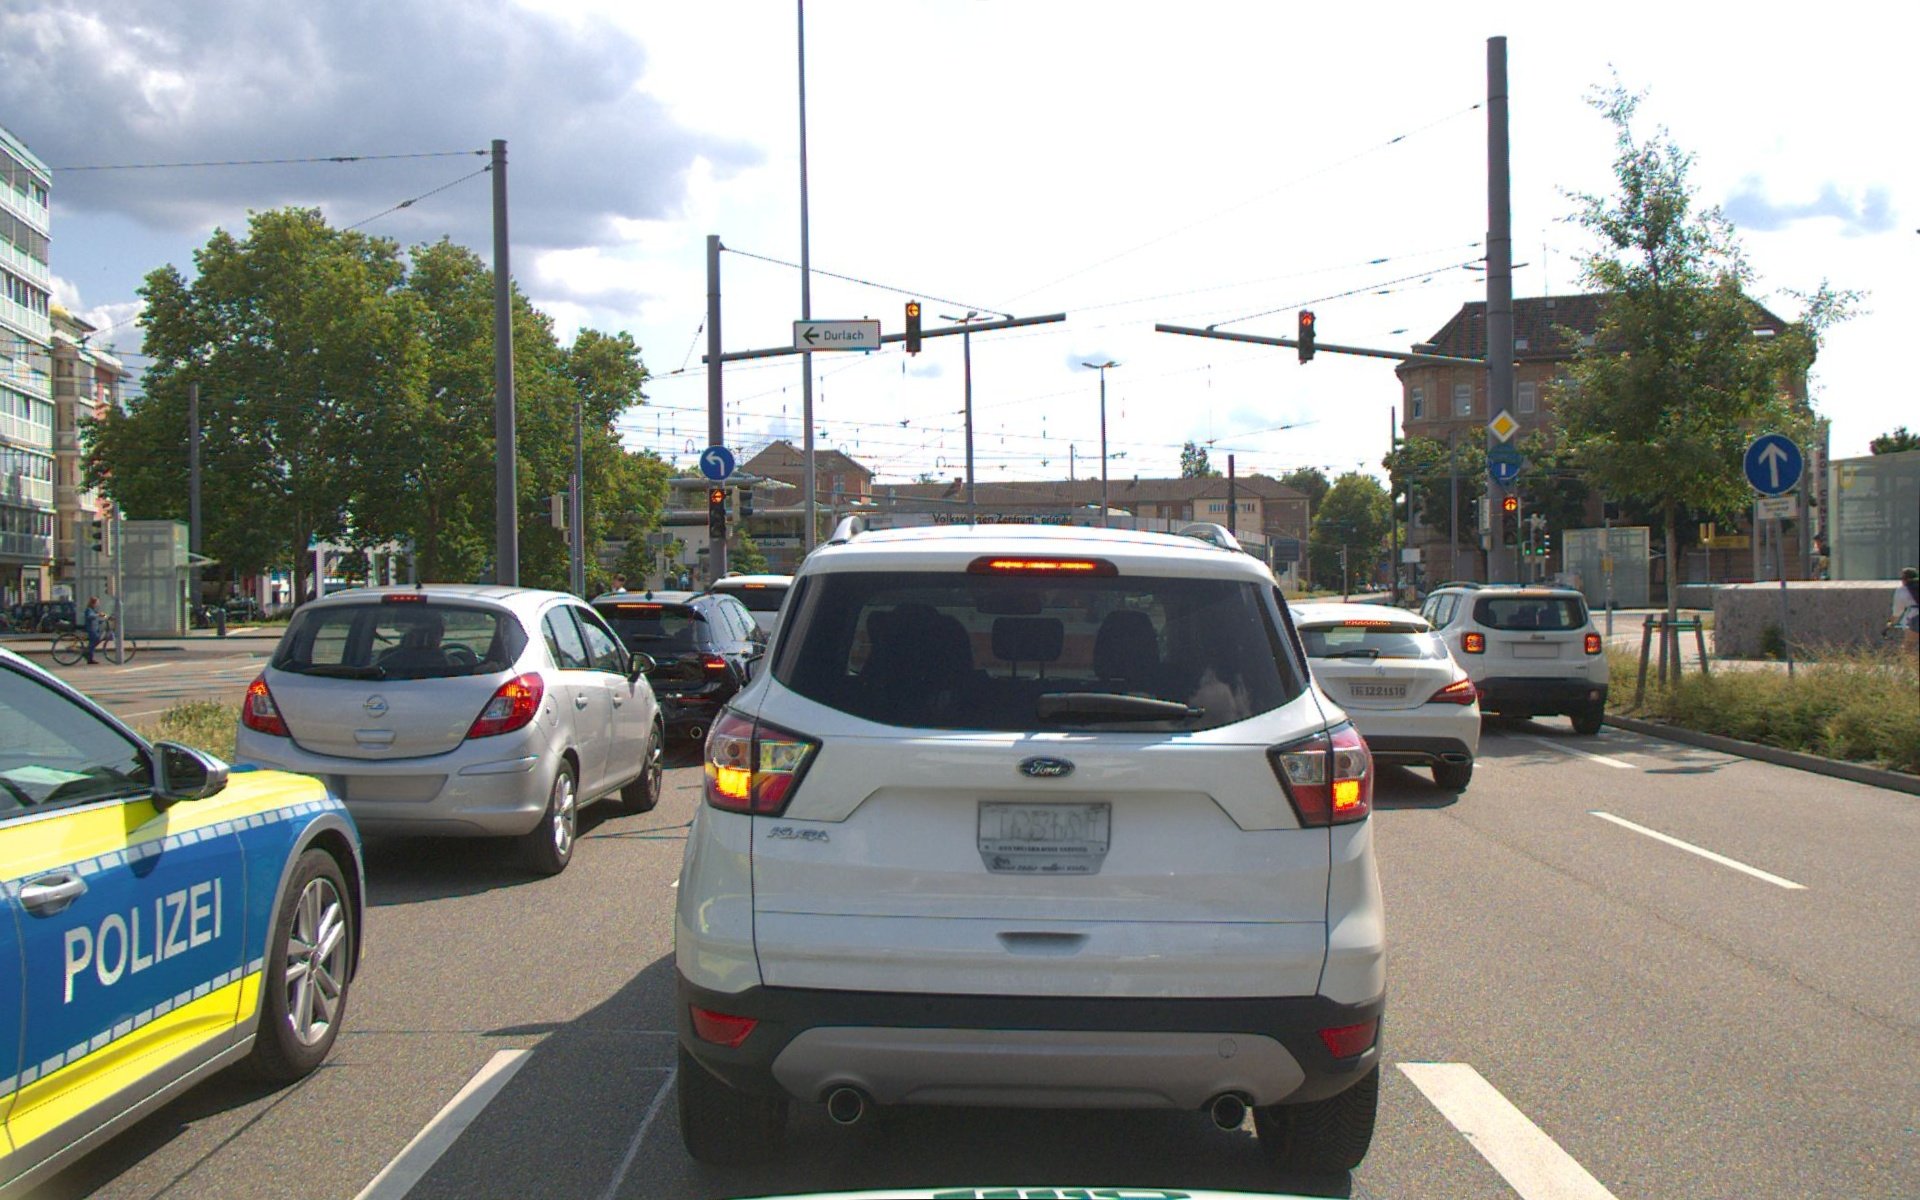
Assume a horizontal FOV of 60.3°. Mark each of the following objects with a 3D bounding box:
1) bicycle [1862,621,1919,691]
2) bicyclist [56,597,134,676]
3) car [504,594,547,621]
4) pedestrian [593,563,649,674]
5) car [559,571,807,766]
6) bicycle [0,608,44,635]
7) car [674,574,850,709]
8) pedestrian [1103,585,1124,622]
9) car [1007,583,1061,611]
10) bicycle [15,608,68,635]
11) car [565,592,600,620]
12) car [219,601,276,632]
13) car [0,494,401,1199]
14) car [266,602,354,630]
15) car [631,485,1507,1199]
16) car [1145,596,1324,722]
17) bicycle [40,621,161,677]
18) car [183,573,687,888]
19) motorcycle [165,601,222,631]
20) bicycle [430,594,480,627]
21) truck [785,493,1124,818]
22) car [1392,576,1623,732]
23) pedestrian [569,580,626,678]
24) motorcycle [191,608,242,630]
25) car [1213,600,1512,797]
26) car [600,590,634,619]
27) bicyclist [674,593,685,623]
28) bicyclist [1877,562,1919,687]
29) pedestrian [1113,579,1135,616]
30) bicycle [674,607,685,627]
[{"bbox_3d":[11.517,0.669,19.788,0.572,0.789,1.621,-1,0,1],"label":"bicycle"},{"bbox_3d":[-19.954,0.834,38.185,1.271,1.761,0.994,-1,0,-3],"label":"bicyclist"},{"bbox_3d":[-32.726,0.577,124.615,1.928,1.971,5.067,-2,-1,-1],"label":"car"},{"bbox_3d":[-6.077,0.328,29.658,0.830,1.950,0.692,-1,-1,-1],"label":"pedestrian"},{"bbox_3d":[-2.506,0.551,15.987,1.727,1.595,4.525,-1,0,-2],"label":"car"},{"bbox_3d":[-40.943,0.931,71.993,1.776,1.167,0.792,-1,0,-19],"label":"bicycle"},{"bbox_3d":[-2.516,0.493,22.073,1.999,1.606,4.537,0,0,-3],"label":"car"},{"bbox_3d":[7.494,0.177,80.688,0.579,1.774,0.920,0,-1,44],"label":"pedestrian"},{"bbox_3d":[4.236,-0.199,93.748,1.860,1.487,3.969,-2,0,21],"label":"car"},{"bbox_3d":[-40.696,0.955,73.300,1.914,1.167,0.792,-1,0,-19],"label":"bicycle"},{"bbox_3d":[-28.138,0.475,123.458,1.929,1.971,4.226,-2,-1,-5],"label":"car"},{"bbox_3d":[-35.667,0.842,82.894,1.872,1.438,3.987,-1,-1,-12],"label":"car"},{"bbox_3d":[-2.745,0.608,3.176,1.842,1.595,4.614,-1,0,-1],"label":"car"},{"bbox_3d":[-33.804,0.843,86.063,3.907,1.350,1.632,-2,-1,-3],"label":"car"},{"bbox_3d":[0.313,0.614,5.380,1.789,1.693,3.957,0,0,3],"label":"car"},{"bbox_3d":[3.359,0.675,20.855,1.811,1.443,3.680,0,0,3],"label":"car"},{"bbox_3d":[-19.829,1.123,38.190,2.248,1.209,0.994,-1,0,-4],"label":"bicycle"},{"bbox_3d":[-2.873,0.627,10.013,1.810,1.500,3.999,-1,0,-1],"label":"car"},{"bbox_3d":[-33.138,0.685,71.488,2.165,1.259,0.906,-1,1,17],"label":"motorcycle"},{"bbox_3d":[-22.779,0.465,74.575,2.133,1.439,0.809,0,1,-16],"label":"bicycle"},{"bbox_3d":[-0.013,0.365,14.140,2.291,2.193,5.852,0,0,0],"label":"truck"},{"bbox_3d":[6.456,0.592,19.943,1.797,1.681,4.002,0,0,5],"label":"car"},{"bbox_3d":[-6.312,0.505,28.824,0.830,1.676,0.692,-1,-1,-1],"label":"pedestrian"},{"bbox_3d":[-34.305,0.873,76.313,0.795,0.933,2.037,0,1,36],"label":"motorcycle"},{"bbox_3d":[3.251,0.724,14.051,1.811,1.443,3.680,0,0,3],"label":"car"},{"bbox_3d":[-25.532,0.347,123.243,1.955,2.049,4.226,-2,-1,-5],"label":"car"},{"bbox_3d":[-16.977,0.490,100.231,0.625,1.768,0.661,0,1,-8],"label":"bicyclist"},{"bbox_3d":[11.518,0.283,19.844,0.595,1.476,0.774,-1,0,0],"label":"bicyclist"},{"bbox_3d":[7.926,-0.106,80.046,0.579,1.774,0.920,0,-1,45],"label":"pedestrian"},{"bbox_3d":[-17.019,1.043,100.473,0.626,1.145,1.780,0,1,-9],"label":"bicycle"}]
